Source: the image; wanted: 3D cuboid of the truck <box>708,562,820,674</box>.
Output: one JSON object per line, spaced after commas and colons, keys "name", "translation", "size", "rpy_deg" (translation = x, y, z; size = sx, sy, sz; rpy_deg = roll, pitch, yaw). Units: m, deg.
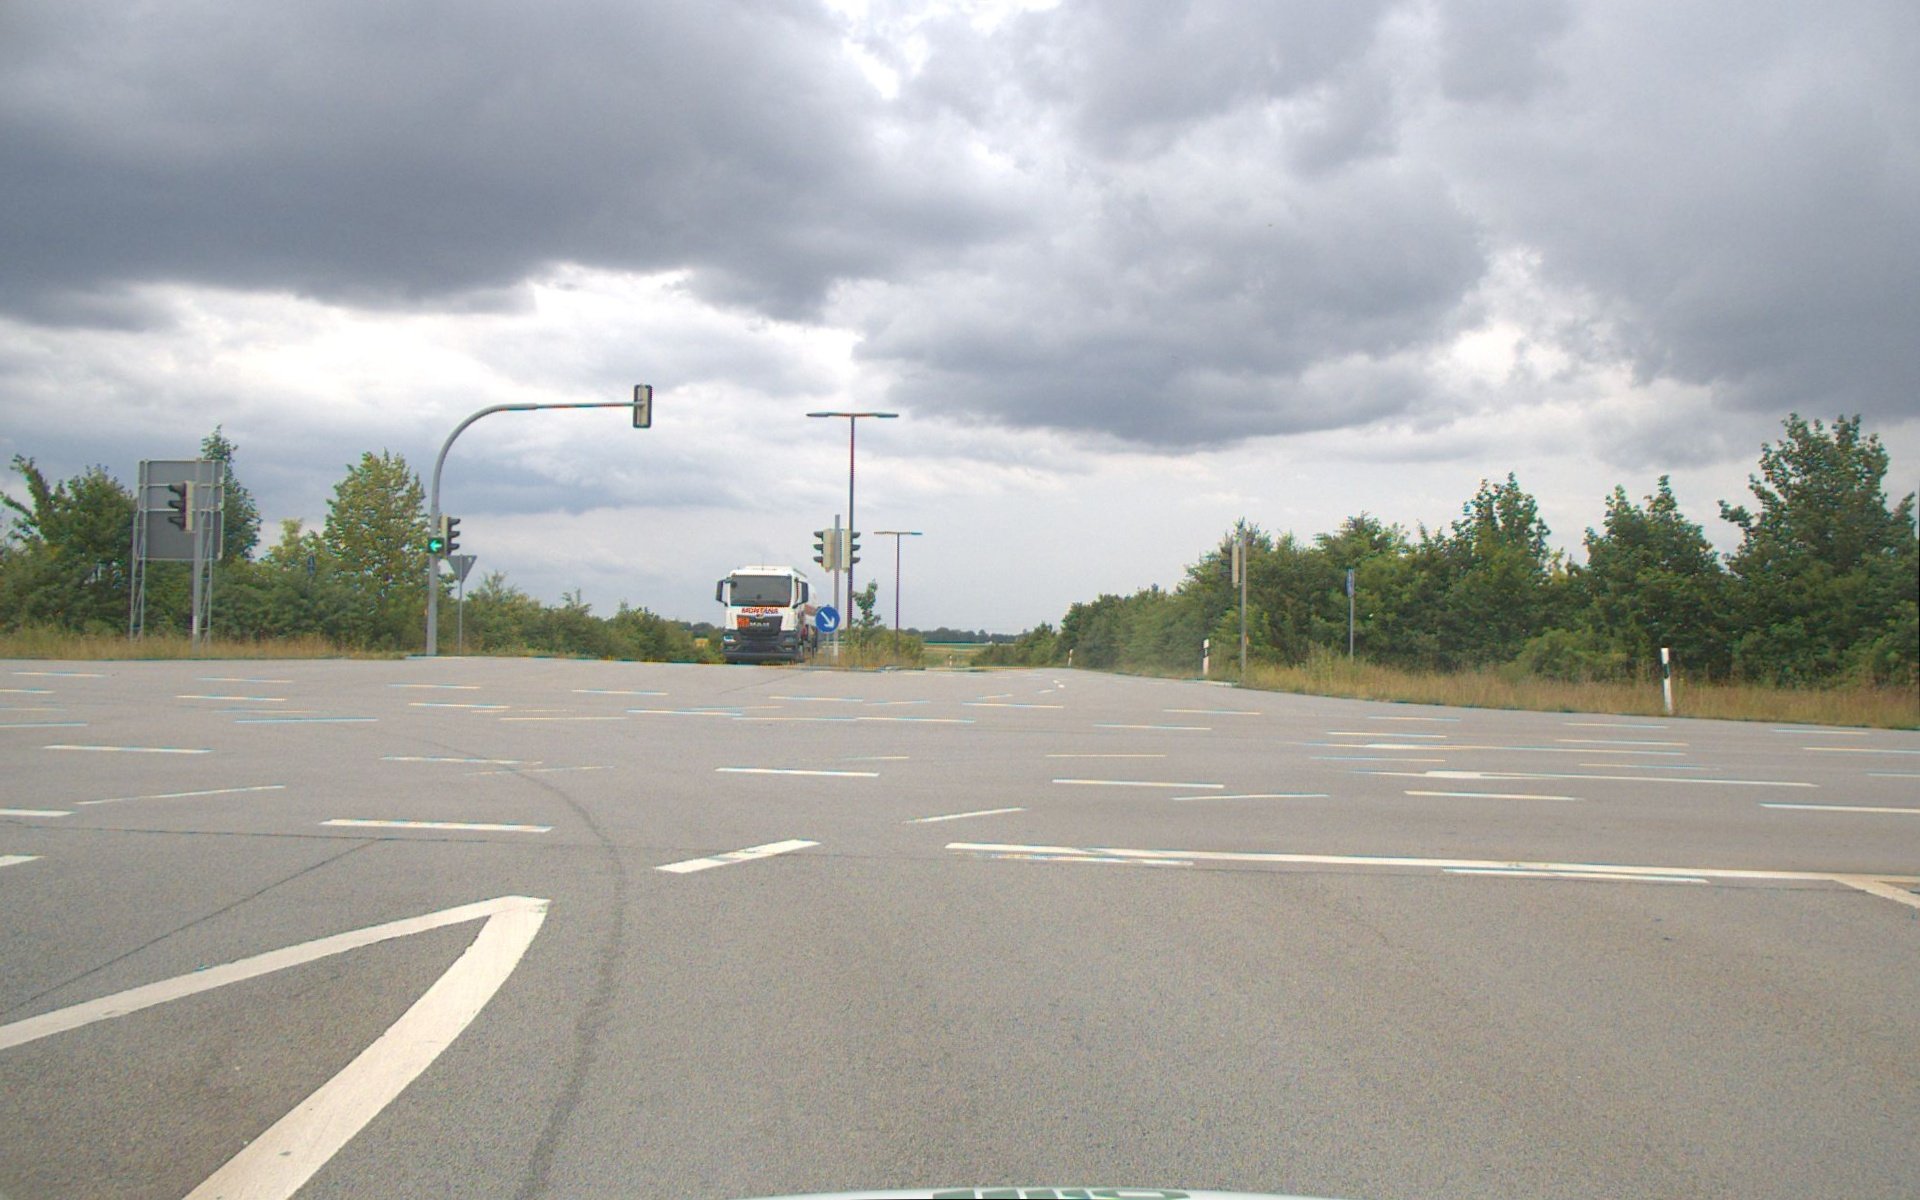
{"name": "truck", "translation": [-6.446, 0.701, 55.737], "size": [2.811, 3.468, 8.647], "rpy_deg": [0, -2, -1]}
